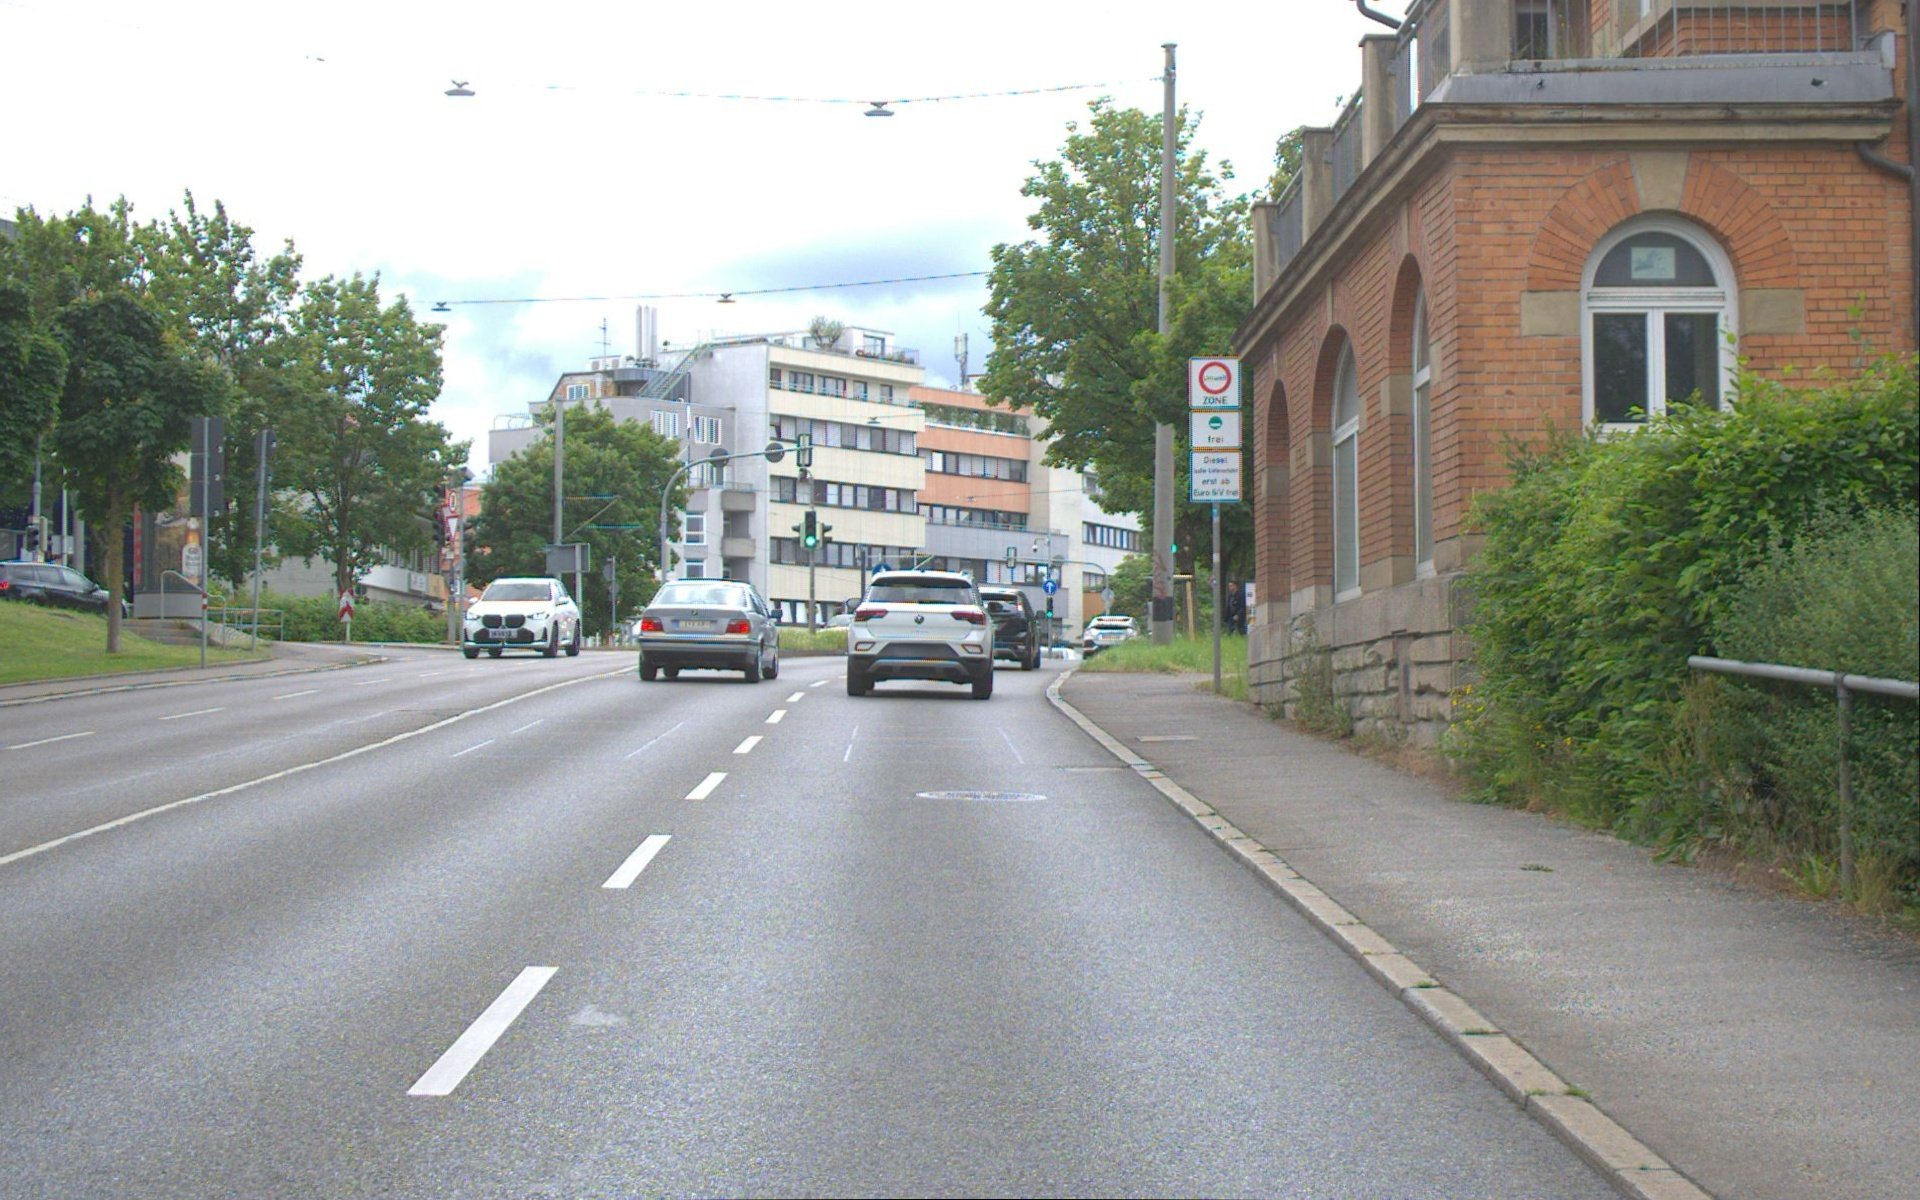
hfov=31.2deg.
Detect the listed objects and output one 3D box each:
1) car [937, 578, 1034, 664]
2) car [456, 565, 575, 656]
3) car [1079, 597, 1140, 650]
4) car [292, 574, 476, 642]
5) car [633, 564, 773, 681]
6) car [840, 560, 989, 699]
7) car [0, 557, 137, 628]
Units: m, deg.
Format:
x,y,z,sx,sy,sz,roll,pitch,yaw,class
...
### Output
x,y,z,sx,sy,sz,roll,pitch,yaw,class
0.460,0.410,62.965,1.700,1.511,3.493,1,-1,0,car
-9.363,0.202,72.686,1.869,1.783,4.654,-2,0,0,car
4.614,0.706,105.712,1.770,1.565,4.284,0,0,4,car
-13.498,0.192,80.704,1.780,1.539,3.990,0,0,44,car
-3.498,0.274,47.305,1.699,1.511,3.736,0,1,-1,car
-0.571,0.332,43.134,1.700,1.543,3.736,3,1,-1,car
-19.886,-0.162,74.075,1.778,1.458,4.434,2,1,25,car
